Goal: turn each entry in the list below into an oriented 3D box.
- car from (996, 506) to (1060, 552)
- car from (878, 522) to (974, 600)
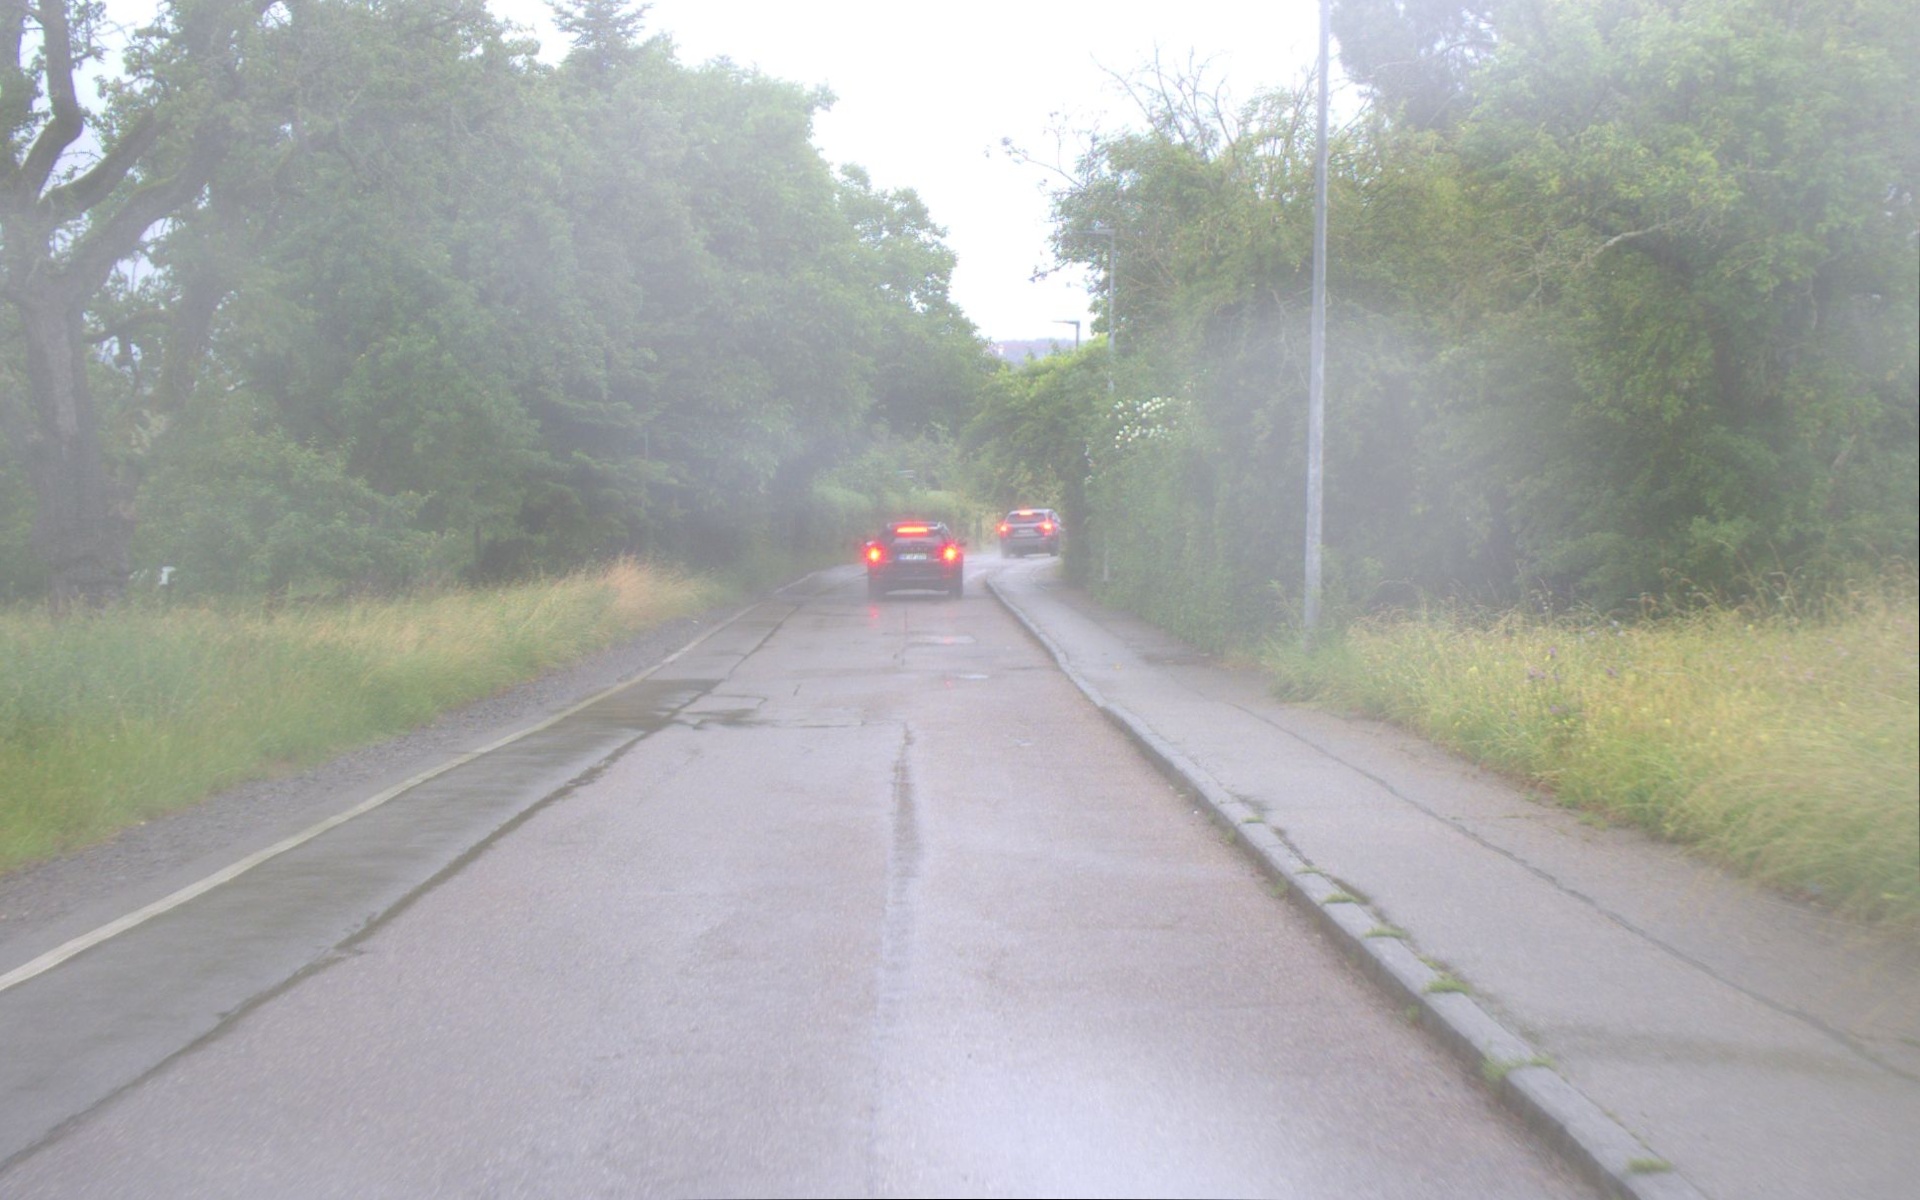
[{"bbox_3d":[2.194,-2.244,109.761,1.635,1.409,3.543,0,0,8],"label":"car"},{"bbox_3d":[-0.627,-0.739,66.201,1.635,1.445,3.544,0,0,3],"label":"car"}]
